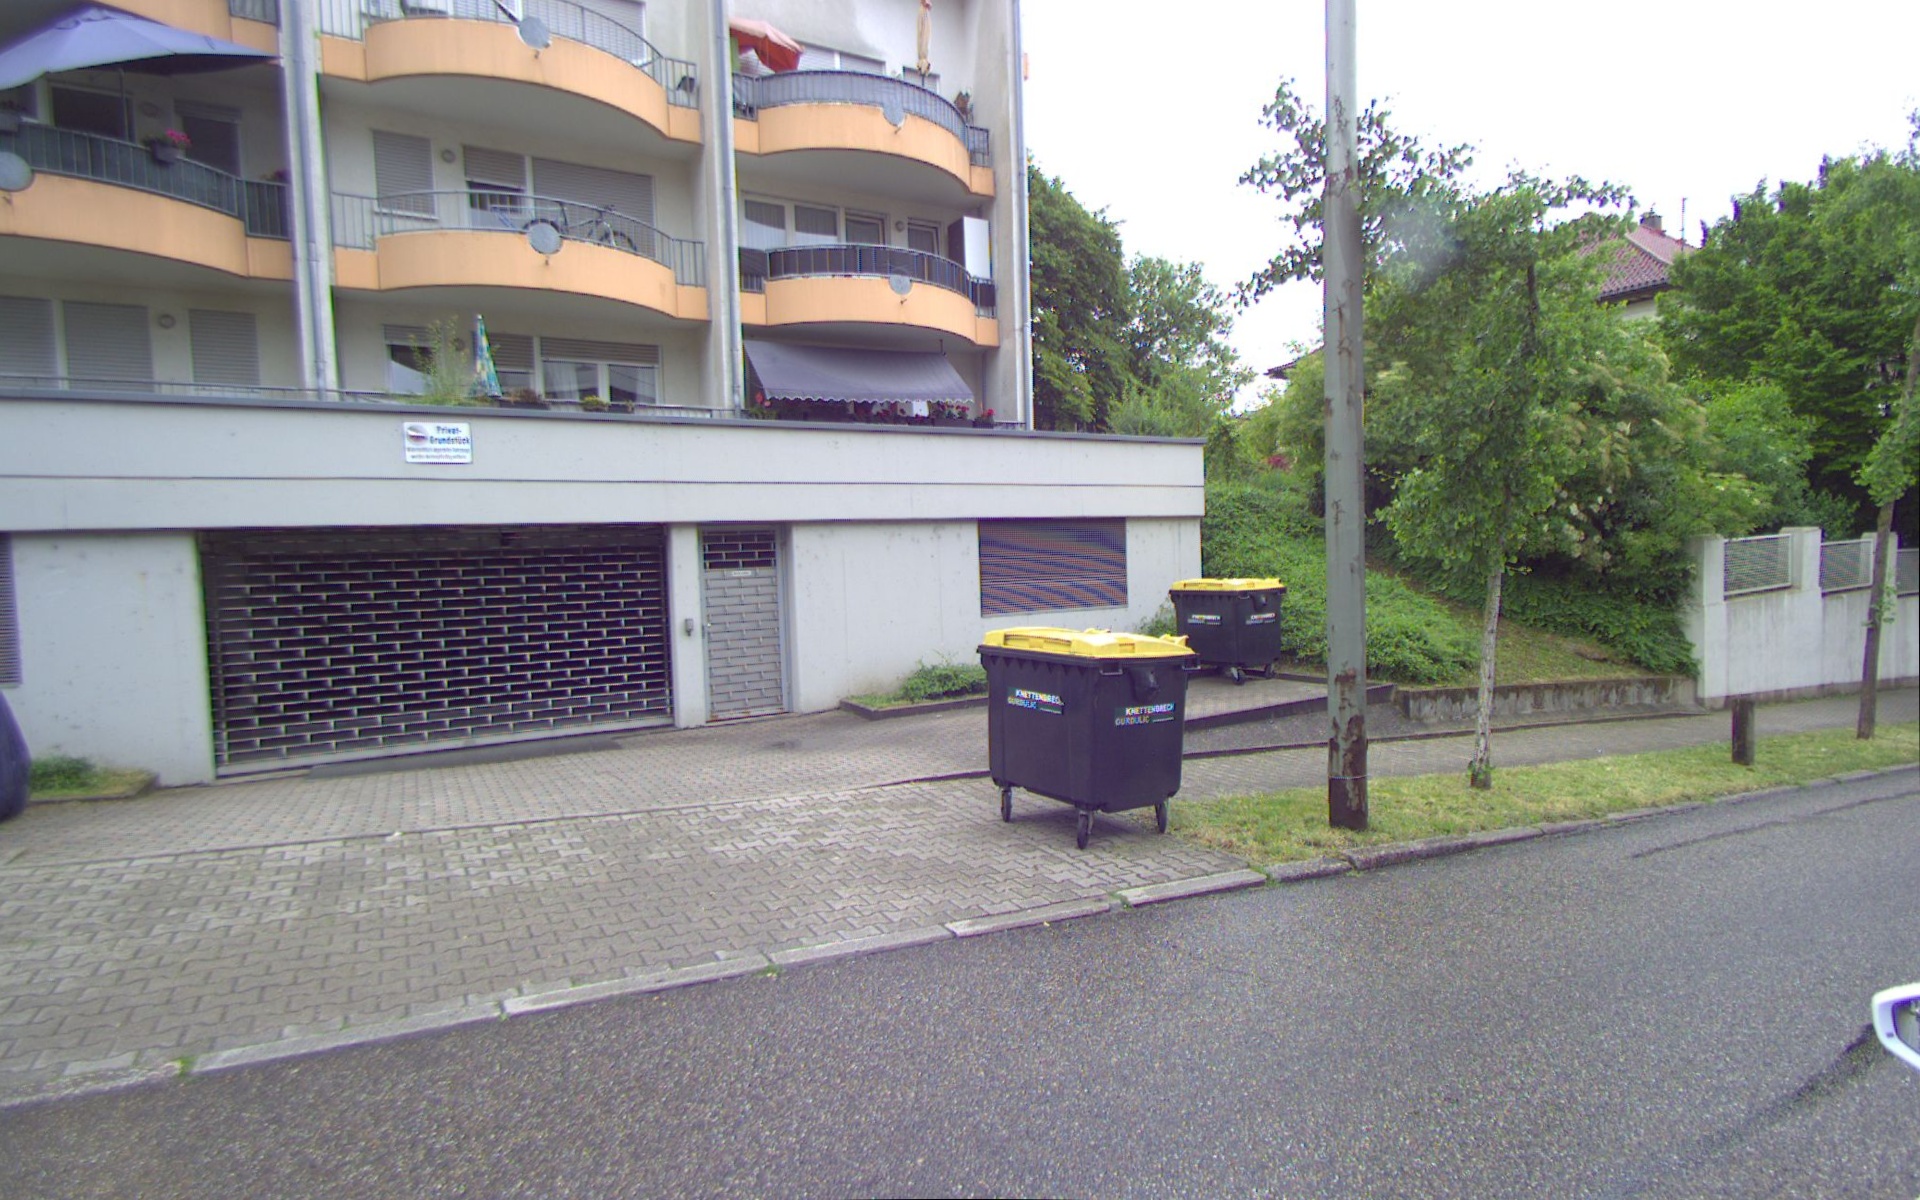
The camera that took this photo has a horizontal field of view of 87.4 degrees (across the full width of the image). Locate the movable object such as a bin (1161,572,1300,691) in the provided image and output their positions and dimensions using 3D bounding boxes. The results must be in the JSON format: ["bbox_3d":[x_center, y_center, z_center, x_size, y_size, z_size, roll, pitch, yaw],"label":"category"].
[{"bbox_3d":[3.613,0.371,13.440,1.215,1.383,1.289,-7,6,-36],"label":"movable object such as a bin"}]

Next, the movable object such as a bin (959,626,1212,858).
[{"bbox_3d":[0.841,0.877,6.910,1.145,1.324,1.288,0,2,-38],"label":"movable object such as a bin"}]

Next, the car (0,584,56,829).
[{"bbox_3d":[-8.065,0.676,5.680,4.050,1.582,1.770,1,-4,-31],"label":"car"}]
